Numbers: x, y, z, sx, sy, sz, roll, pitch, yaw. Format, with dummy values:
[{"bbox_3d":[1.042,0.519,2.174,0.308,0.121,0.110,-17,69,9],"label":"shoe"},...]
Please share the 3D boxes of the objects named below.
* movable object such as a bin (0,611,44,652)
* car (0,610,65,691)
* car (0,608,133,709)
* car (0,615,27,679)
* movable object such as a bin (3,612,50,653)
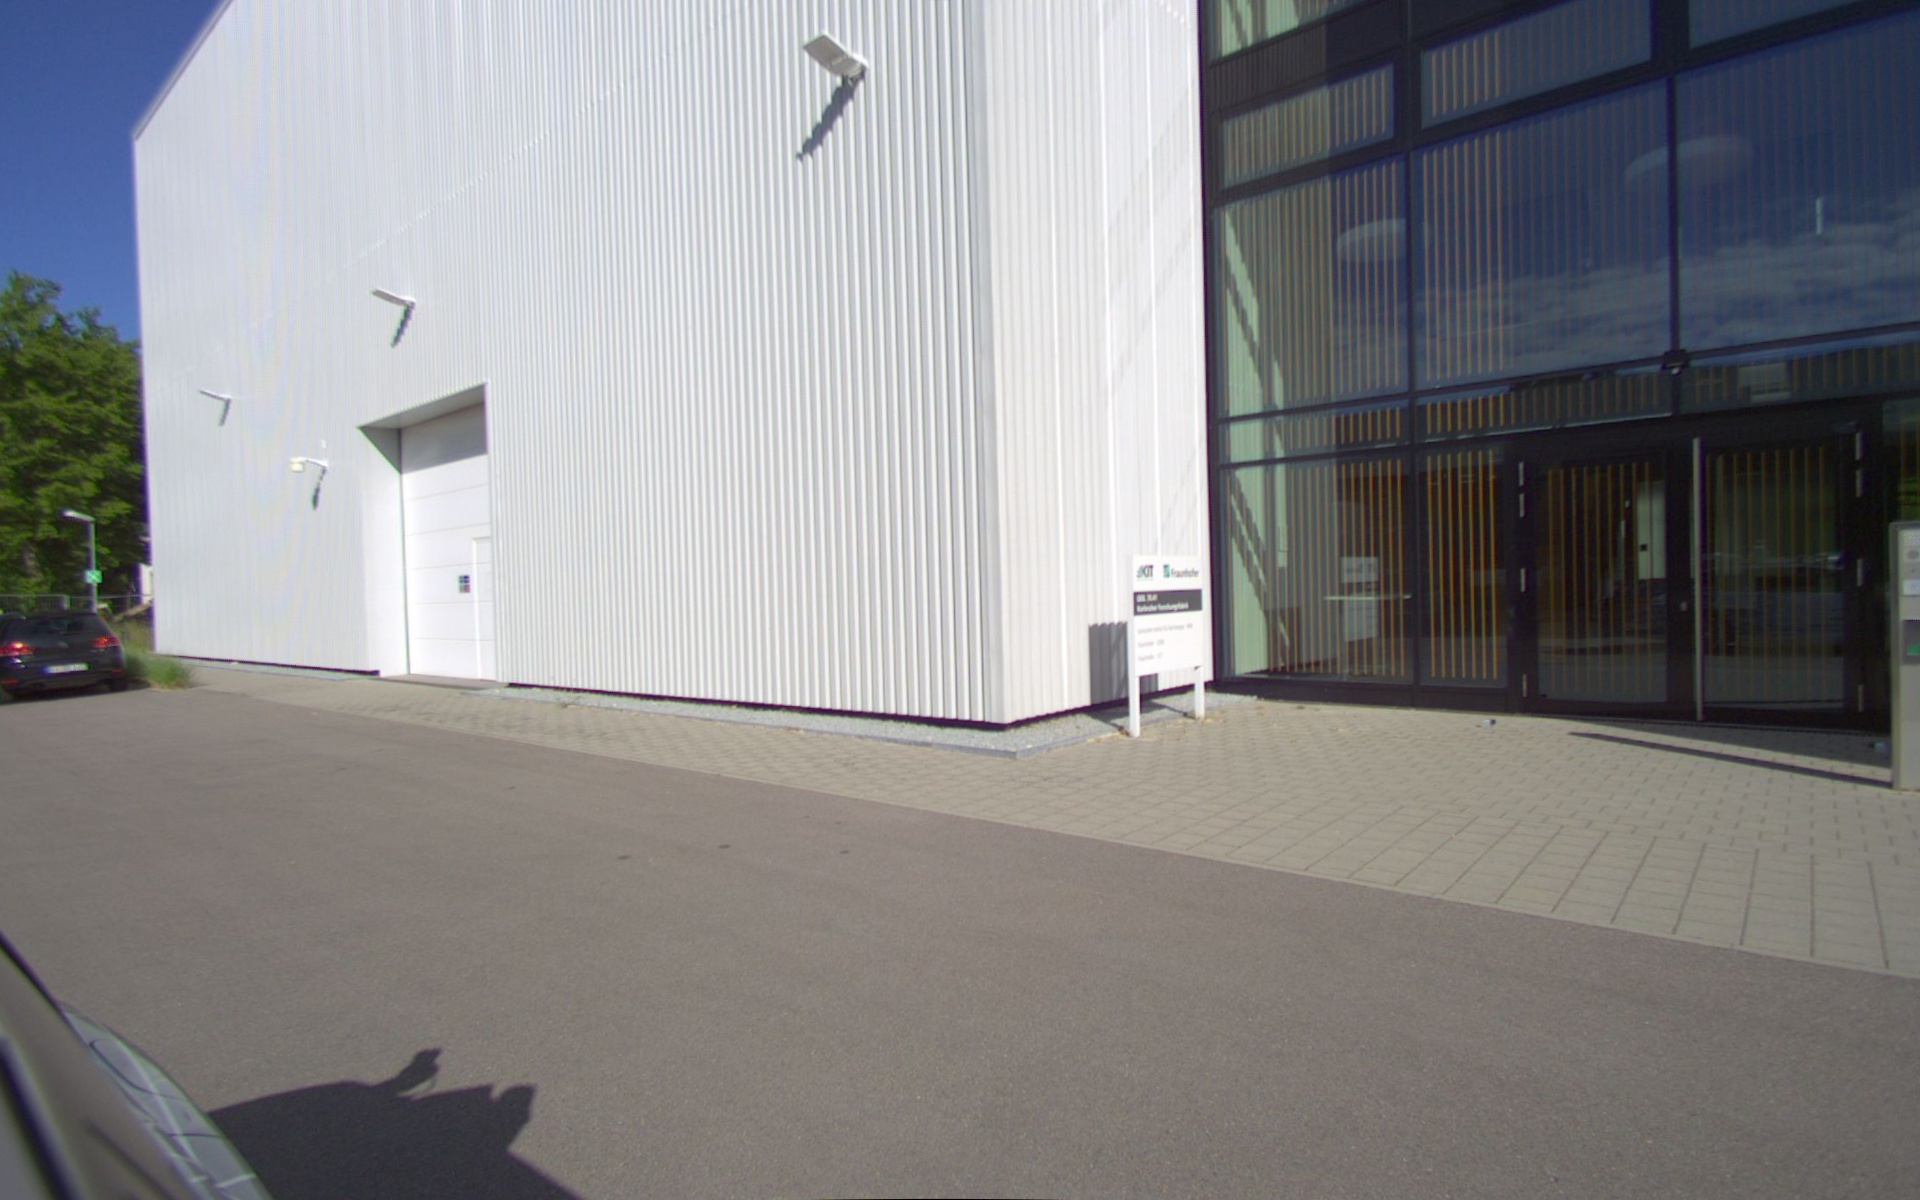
[{"bbox_3d":[-34.962,1.190,37.713,1.279,1.489,1.126,-3,-2,41],"label":"movable object such as a bin"},{"bbox_3d":[-19.738,1.045,20.708,3.518,1.499,1.533,-2,2,39],"label":"car"},{"bbox_3d":[-16.075,0.972,17.697,4.313,1.456,1.738,-2,3,41],"label":"car"},{"bbox_3d":[-23.924,1.170,24.285,3.794,1.459,1.695,-2,2,39],"label":"car"},{"bbox_3d":[-33.946,1.162,36.805,1.288,1.445,1.126,-2,-1,41],"label":"movable object such as a bin"}]
